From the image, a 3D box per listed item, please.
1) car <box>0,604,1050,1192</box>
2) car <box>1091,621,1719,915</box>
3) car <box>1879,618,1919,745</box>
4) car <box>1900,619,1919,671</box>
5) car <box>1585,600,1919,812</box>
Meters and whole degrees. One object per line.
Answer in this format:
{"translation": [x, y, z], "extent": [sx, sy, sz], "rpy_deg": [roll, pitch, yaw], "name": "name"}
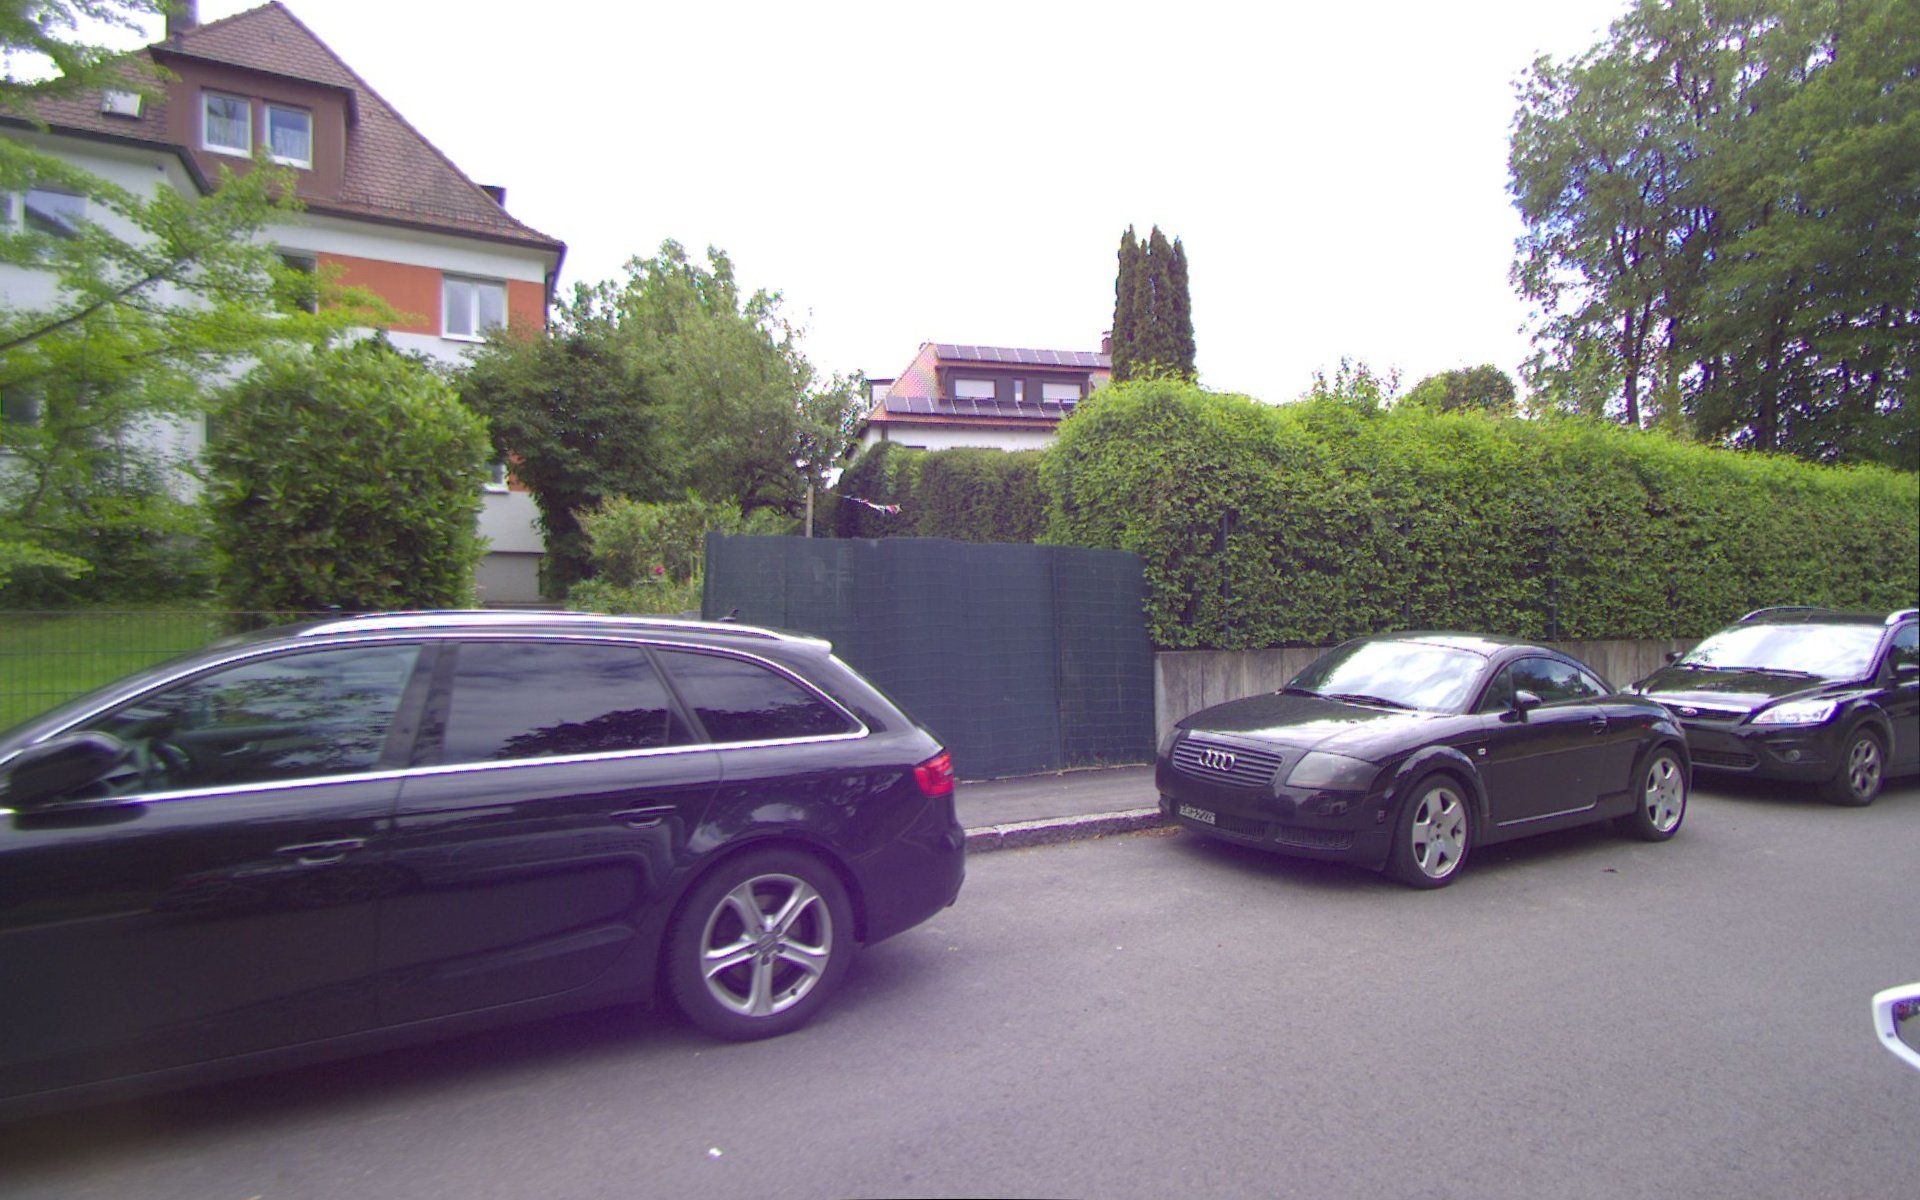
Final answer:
{"translation": [-2.069, 0.730, 3.510], "extent": [4.607, 1.403, 1.711], "rpy_deg": [1, -1, -29], "name": "car"}
{"translation": [2.995, 0.846, 6.549], "extent": [4.059, 1.359, 1.703], "rpy_deg": [1, 0, -30], "name": "car"}
{"translation": [12.728, 0.943, 11.644], "extent": [4.287, 1.392, 1.767], "rpy_deg": [1, 0, -29], "name": "car"}
{"translation": [32.920, 1.476, 31.299], "extent": [2.007, 1.692, 4.927], "rpy_deg": [2, -1, -21], "name": "car"}
{"translation": [7.857, 0.817, 9.106], "extent": [4.415, 1.554, 1.651], "rpy_deg": [1, 0, -26], "name": "car"}
